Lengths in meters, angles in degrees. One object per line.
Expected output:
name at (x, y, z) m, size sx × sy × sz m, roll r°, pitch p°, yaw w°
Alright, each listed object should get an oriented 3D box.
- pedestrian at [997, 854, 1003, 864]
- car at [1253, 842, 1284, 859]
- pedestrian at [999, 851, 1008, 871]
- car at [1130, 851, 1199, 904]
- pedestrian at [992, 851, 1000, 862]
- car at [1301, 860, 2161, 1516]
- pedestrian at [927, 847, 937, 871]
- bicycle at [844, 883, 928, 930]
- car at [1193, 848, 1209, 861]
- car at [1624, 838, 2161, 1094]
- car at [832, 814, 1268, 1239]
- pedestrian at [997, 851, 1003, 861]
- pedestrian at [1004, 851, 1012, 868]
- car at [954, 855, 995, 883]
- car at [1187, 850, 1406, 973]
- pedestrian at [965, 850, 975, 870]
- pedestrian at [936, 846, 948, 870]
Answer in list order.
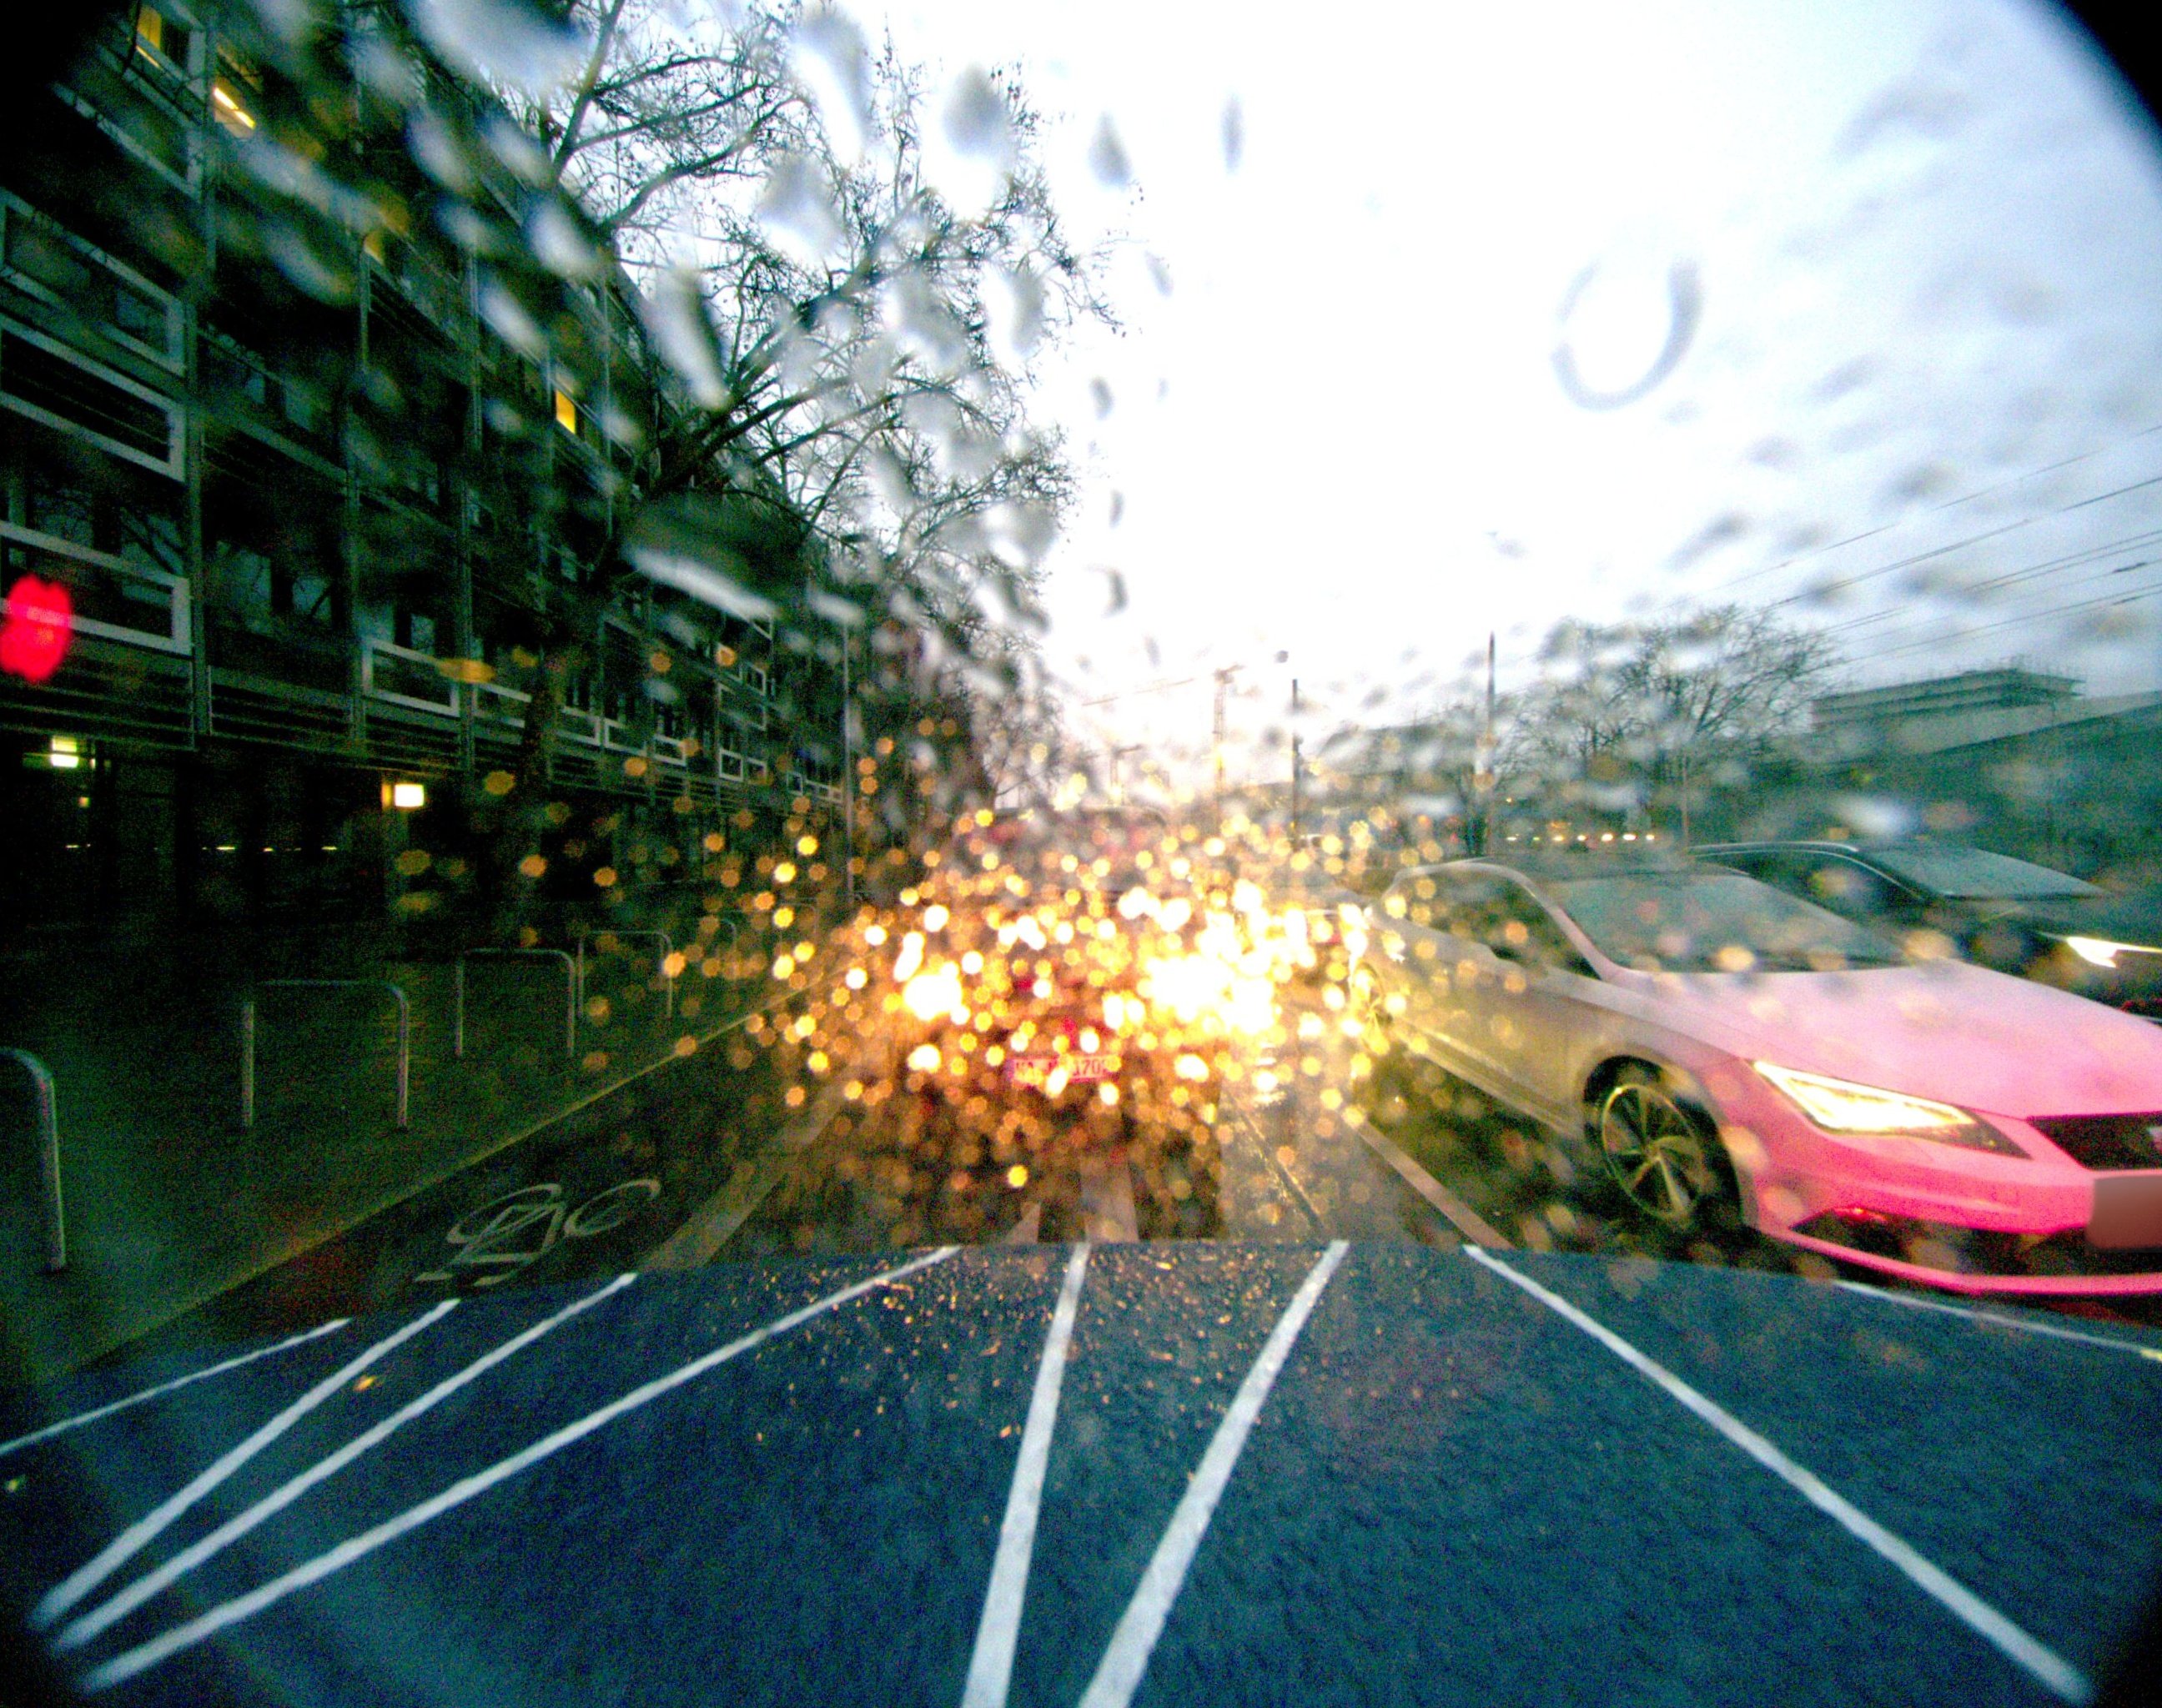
pedestrian at (-10.989, 0.739, 103.291) m, size 0.719 × 1.330 × 0.791 m, roll -2°, pitch 1°, yaw 1°
car at (20.991, -0.379, 85.190) m, size 2.095 × 1.884 × 3.997 m, roll -1°, pitch 1°, yaw -7°
pedestrian at (-6.957, 0.600, 68.256) m, size 0.766 × 1.740 × 0.928 m, roll 0°, pitch 1°, yaw -4°
car at (2.725, 0.723, 25.629) m, size 1.907 × 1.565 × 3.999 m, roll -2°, pitch 1°, yaw 1°
pedestrian at (-10.179, 0.314, 91.345) m, size 0.782 × 1.330 × 0.751 m, roll -2°, pitch 1°, yaw 1°
car at (2.981, 0.836, 4.163) m, size 1.949 × 1.478 × 4.504 m, roll -2°, pitch 0°, yaw -4°
pedestrian at (-12.583, 0.410, 64.175) m, size 0.699 × 1.968 × 0.928 m, roll 0°, pitch 1°, yaw 1°
bicycle at (-4.493, 1.206, 17.612) m, size 1.704 × 0.987 × 0.879 m, roll 1°, pitch 1°, yaw 0°
car at (19.110, 0.075, 121.306) m, size 1.998 × 2.002 × 3.999 m, roll -2°, pitch 1°, yaw 1°
car at (7.324, 0.639, 6.583) m, size 1.853 × 1.499 × 4.662 m, roll -1°, pitch 1°, yaw -1°
car at (-0.156, 0.752, 5.398) m, size 1.878 × 1.830 × 3.999 m, roll -2°, pitch 1°, yaw -1°
pedestrian at (-10.785, 0.226, 101.309) m, size 0.719 × 1.330 × 0.791 m, roll -2°, pitch 1°, yaw 1°
pedestrian at (-7.881, 0.568, 81.815) m, size 0.766 × 1.740 × 0.928 m, roll 0°, pitch 1°, yaw -4°
car at (-6.049, 0.809, 43.570) m, size 1.713 × 1.455 × 3.999 m, roll -2°, pitch 1°, yaw 1°
car at (2.975, 0.697, 11.606) m, size 1.999 × 1.478 × 4.505 m, roll -1°, pitch 0°, yaw -1°
pedestrian at (-9.493, 0.495, 65.047) m, size 0.766 × 1.740 × 0.928 m, roll 0°, pitch 1°, yaw -4°
pedestrian at (-12.810, 0.384, 70.013) m, size 1.062 × 2.182 × 1.110 m, roll -2°, pitch 1°, yaw -11°
